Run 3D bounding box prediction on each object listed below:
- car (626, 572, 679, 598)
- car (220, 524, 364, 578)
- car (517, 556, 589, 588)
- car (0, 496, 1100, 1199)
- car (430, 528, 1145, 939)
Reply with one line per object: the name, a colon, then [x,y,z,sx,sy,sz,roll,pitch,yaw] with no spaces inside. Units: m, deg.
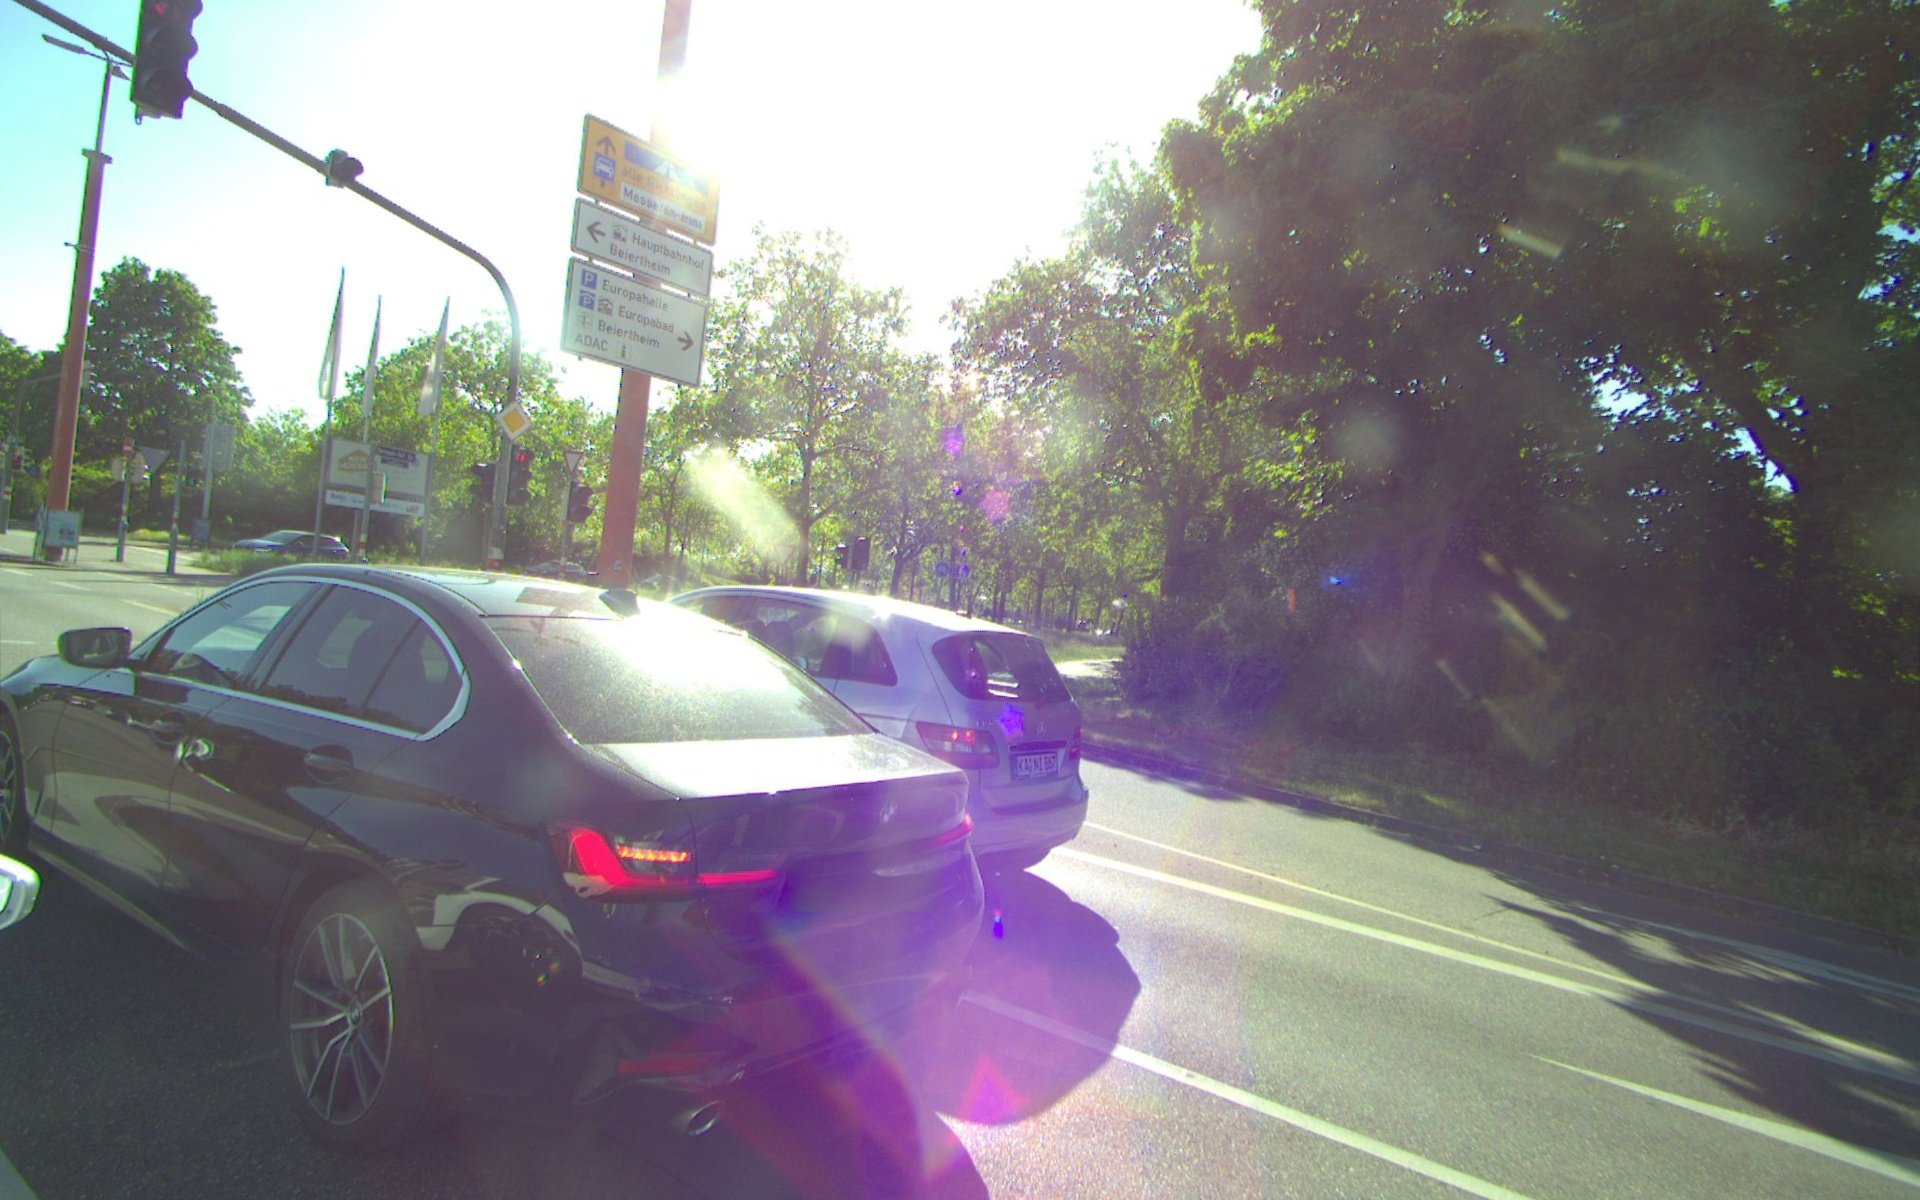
car: [-24.035,-1.176,78.816,2.124,1.592,4.284,7,-1,10]
car: [-25.082,-1.812,37.982,1.848,1.445,4.283,7,-1,14]
car: [-26.655,-1.818,66.083,2.124,1.592,4.586,7,-1,10]
car: [-1.954,0.531,3.882,4.403,1.411,1.996,7,0,32]
car: [-1.276,0.643,6.790,4.403,1.706,1.970,7,-1,32]
